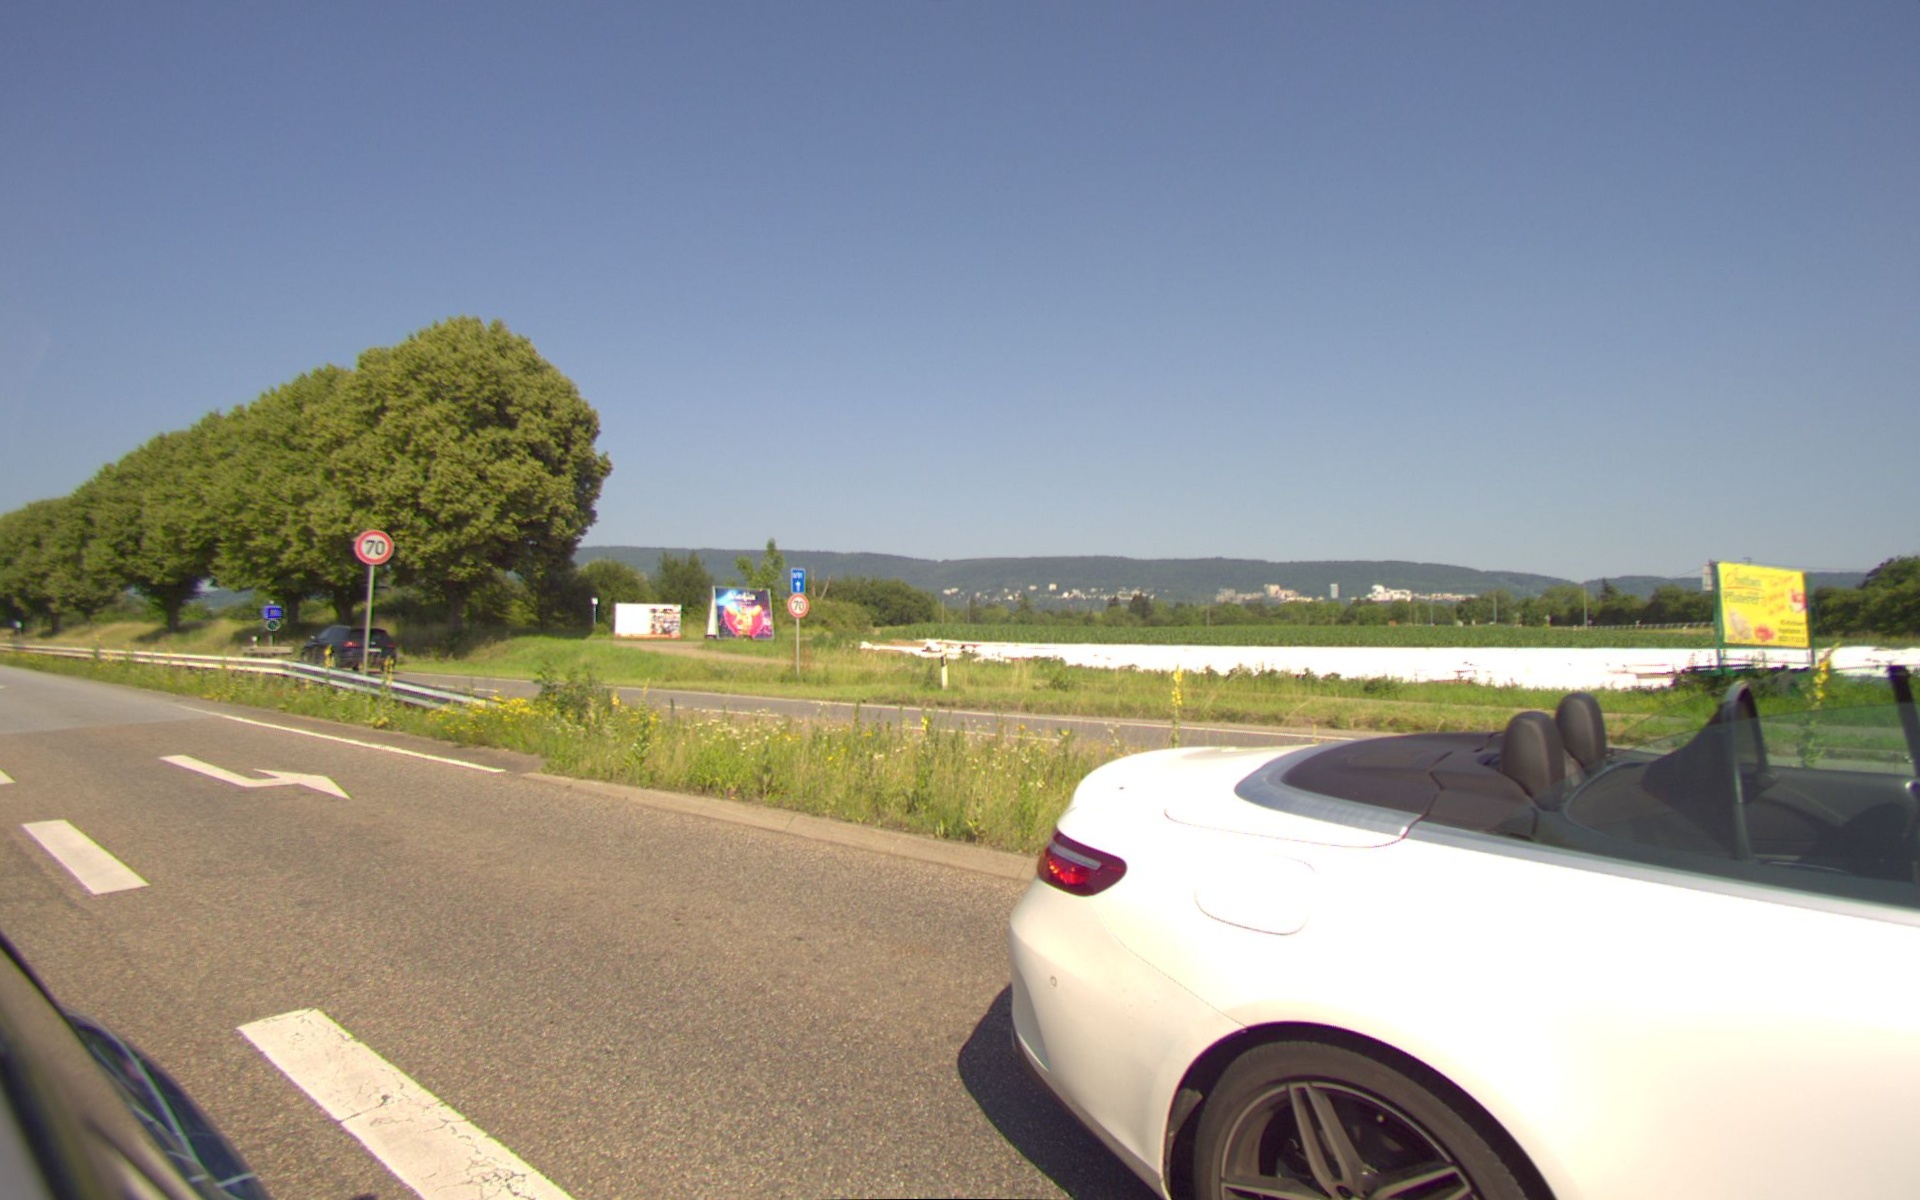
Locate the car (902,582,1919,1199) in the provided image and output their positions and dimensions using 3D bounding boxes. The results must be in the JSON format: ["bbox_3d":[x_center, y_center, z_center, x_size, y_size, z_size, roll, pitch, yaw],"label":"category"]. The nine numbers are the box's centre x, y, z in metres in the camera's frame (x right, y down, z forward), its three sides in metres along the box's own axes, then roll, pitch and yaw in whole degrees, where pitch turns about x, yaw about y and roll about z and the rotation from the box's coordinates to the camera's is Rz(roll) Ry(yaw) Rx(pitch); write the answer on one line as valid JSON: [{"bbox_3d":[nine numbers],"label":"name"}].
[{"bbox_3d":[2.194,0.684,1.586,4.639,1.436,1.784,-2,-1,41],"label":"car"}]

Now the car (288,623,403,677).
[{"bbox_3d":[-22.401,1.831,36.840,4.948,1.855,1.974,-2,-5,39],"label":"car"}]
